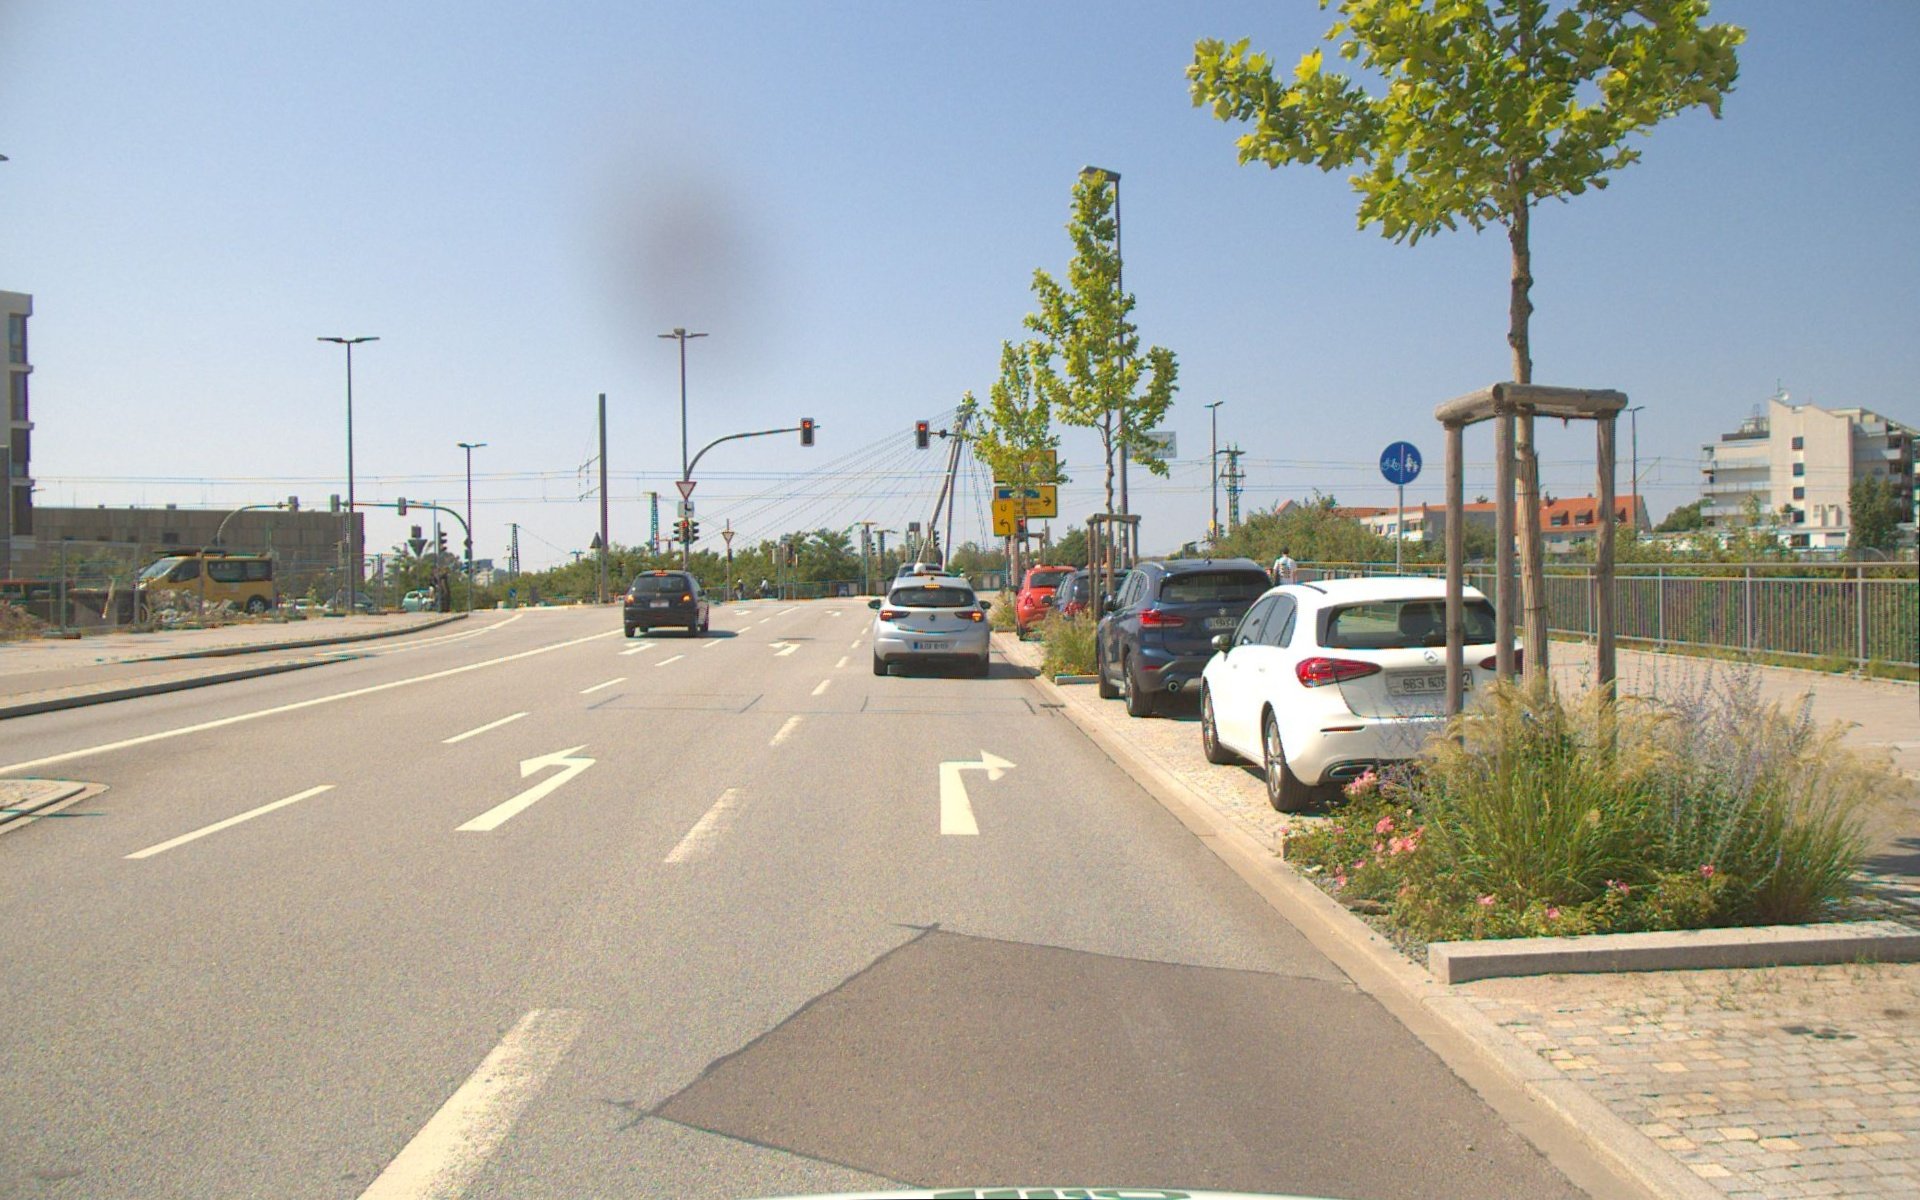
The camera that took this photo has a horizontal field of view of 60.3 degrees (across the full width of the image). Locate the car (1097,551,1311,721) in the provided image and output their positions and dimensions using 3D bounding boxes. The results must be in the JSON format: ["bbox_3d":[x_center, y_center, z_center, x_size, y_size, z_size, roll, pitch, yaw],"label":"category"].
[{"bbox_3d":[2.607,0.330,18.480,1.785,1.645,3.611,-2,1,0],"label":"car"}]

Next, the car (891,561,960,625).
[{"bbox_3d":[-0.931,-0.220,44.074,1.742,1.596,3.999,-1,1,-1],"label":"car"}]

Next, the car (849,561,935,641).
[{"bbox_3d":[-1.444,-0.022,35.854,1.742,1.596,3.999,-1,1,-1],"label":"car"}]

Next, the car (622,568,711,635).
[{"bbox_3d":[-6.626,0.014,37.620,1.587,1.441,3.724,0,0,-4],"label":"car"}]

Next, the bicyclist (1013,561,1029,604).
[{"bbox_3d":[2.358,-0.680,64.224,0.581,1.673,0.312,1,-1,-7],"label":"bicyclist"}]

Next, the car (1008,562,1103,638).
[{"bbox_3d":[2.054,-0.022,36.459,1.742,1.530,3.999,-2,0,-1],"label":"car"}]

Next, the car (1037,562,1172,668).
[{"bbox_3d":[2.370,0.218,28.093,1.743,1.529,3.999,-5,1,-1],"label":"car"}]

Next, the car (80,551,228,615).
[{"bbox_3d":[-26.591,-0.563,54.668,1.961,2.049,3.983,0,0,37],"label":"car"}]

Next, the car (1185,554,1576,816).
[{"bbox_3d":[2.801,0.487,11.975,1.662,1.501,4.204,-2,0,-1],"label":"car"}]

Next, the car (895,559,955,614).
[{"bbox_3d":[-1.081,-0.444,50.456,1.742,1.596,3.999,-1,1,-1],"label":"car"}]

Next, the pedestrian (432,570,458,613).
[{"bbox_3d":[-19.854,-0.329,63.786,0.828,1.675,0.826,0,0,-7],"label":"pedestrian"}]

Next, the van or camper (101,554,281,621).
[{"bbox_3d":[-23.897,-0.353,51.523,1.964,1.930,4.690,0,-2,41],"label":"van or camper"}]

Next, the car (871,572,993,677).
[{"bbox_3d":[-0.454,0.321,25.919,1.742,1.467,3.999,-1,1,-1],"label":"car"}]

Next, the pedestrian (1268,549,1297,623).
[{"bbox_3d":[7.102,-0.306,36.404,0.522,1.603,0.523,1,-1,-1],"label":"pedestrian"}]
